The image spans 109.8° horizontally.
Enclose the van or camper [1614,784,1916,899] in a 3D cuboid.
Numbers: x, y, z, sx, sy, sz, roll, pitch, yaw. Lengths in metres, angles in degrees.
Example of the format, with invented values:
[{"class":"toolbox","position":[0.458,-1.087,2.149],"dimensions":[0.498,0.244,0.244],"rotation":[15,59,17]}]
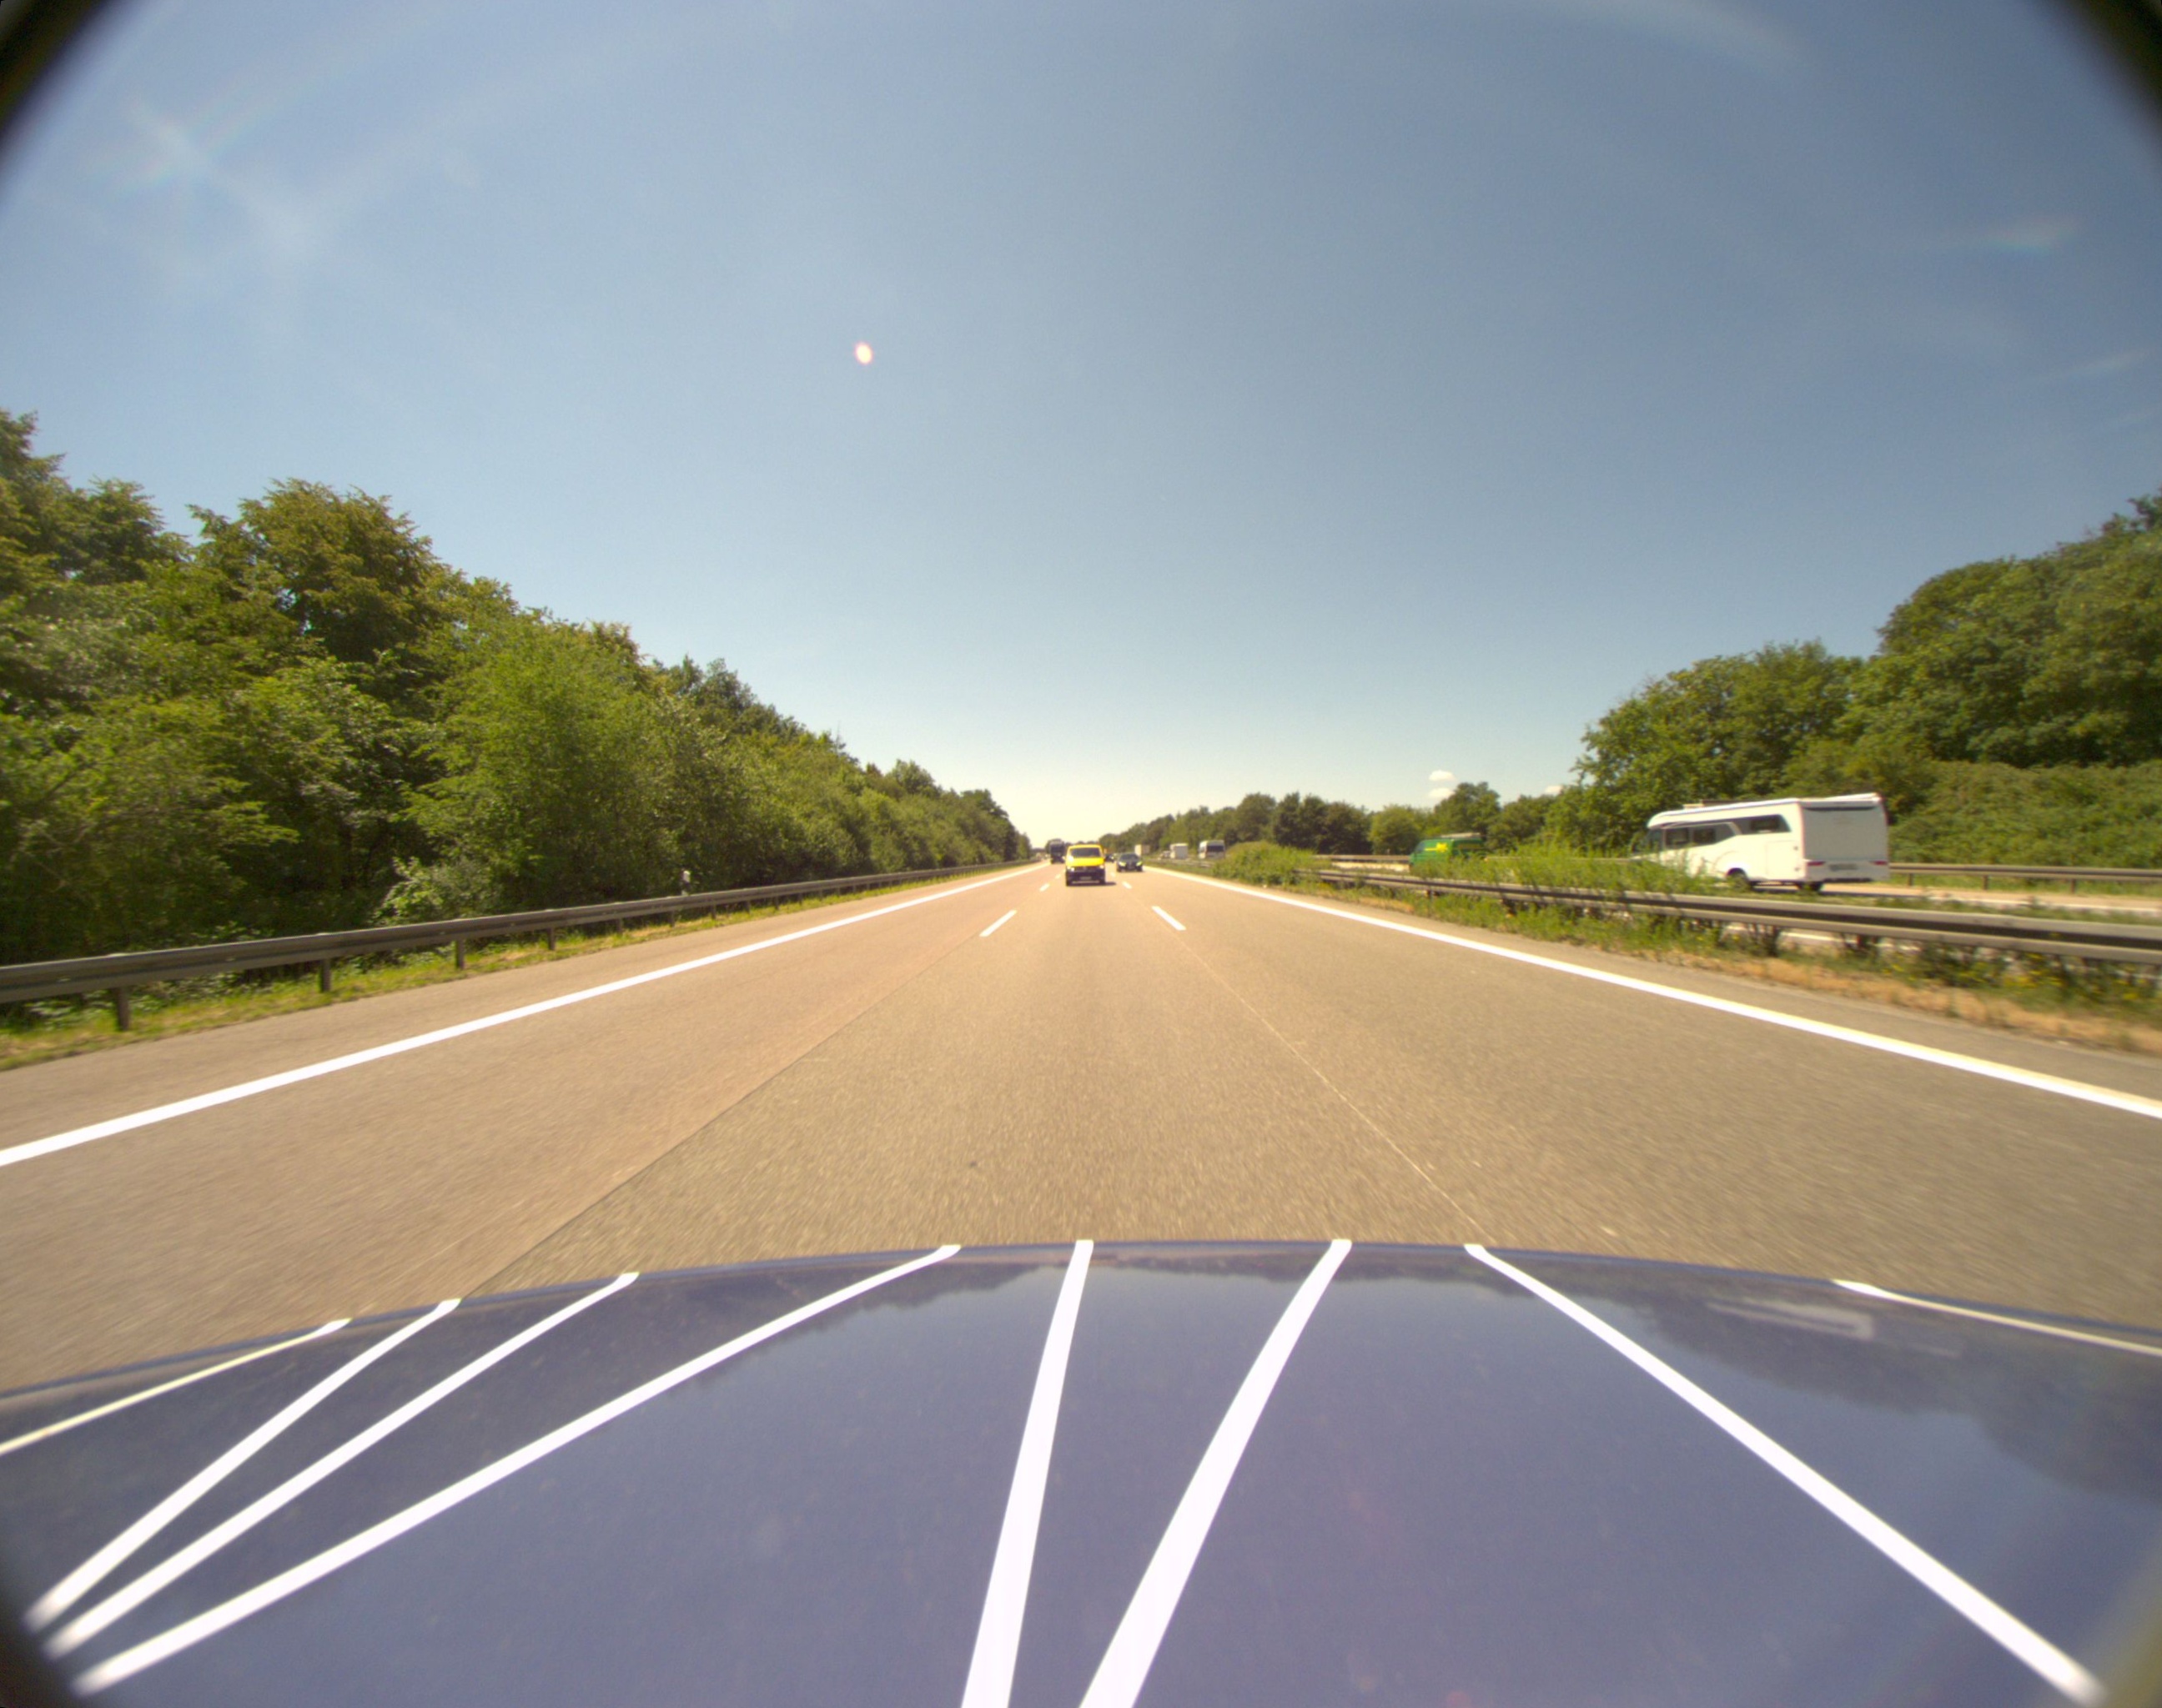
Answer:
[{"class":"van or camper","position":[20.805,-0.365,23.961],"dimensions":[2.612,2.985,7.755],"rotation":[-1,0,1]}]

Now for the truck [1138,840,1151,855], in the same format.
[{"class":"truck","position":[18.779,-1.961,225.406],"dimensions":[3.118,4.502,8.586],"rotation":[-1,1,0]}]

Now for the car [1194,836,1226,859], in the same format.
[{"class":"car","position":[13.227,-0.648,78.115],"dimensions":[2.237,2.174,6.385],"rotation":[-1,0,1]}]

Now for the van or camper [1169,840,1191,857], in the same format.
[{"class":"van or camper","position":[16.967,-0.925,130.211],"dimensions":[2.950,2.675,6.746],"rotation":[-1,0,1]}]

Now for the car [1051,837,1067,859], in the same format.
[{"class":"car","position":[-3.857,-1.077,135.770],"dimensions":[2.298,3.886,9.268],"rotation":[1,1,1]}]

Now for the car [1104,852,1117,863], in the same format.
[{"class":"car","position":[4.481,0.503,116.345],"dimensions":[1.894,1.541,4.039],"rotation":[1,1,1]}]

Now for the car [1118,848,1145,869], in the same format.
[{"class":"car","position":[3.871,0.344,58.710],"dimensions":[1.894,1.541,4.039],"rotation":[1,1,1]}]

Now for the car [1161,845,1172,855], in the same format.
[{"class":"car","position":[19.313,-0.885,170.982],"dimensions":[1.998,2.002,3.999],"rotation":[-2,1,0]}]

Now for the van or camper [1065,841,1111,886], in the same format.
[{"class":"van or camper","position":[0.424,0.414,37.912],"dimensions":[2.063,1.992,5.884],"rotation":[-1,0,2]}]

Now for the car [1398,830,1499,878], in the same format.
[{"class":"car","position":[18.265,-0.039,38.170],"dimensions":[2.288,2.174,5.945],"rotation":[-1,0,1]}]
